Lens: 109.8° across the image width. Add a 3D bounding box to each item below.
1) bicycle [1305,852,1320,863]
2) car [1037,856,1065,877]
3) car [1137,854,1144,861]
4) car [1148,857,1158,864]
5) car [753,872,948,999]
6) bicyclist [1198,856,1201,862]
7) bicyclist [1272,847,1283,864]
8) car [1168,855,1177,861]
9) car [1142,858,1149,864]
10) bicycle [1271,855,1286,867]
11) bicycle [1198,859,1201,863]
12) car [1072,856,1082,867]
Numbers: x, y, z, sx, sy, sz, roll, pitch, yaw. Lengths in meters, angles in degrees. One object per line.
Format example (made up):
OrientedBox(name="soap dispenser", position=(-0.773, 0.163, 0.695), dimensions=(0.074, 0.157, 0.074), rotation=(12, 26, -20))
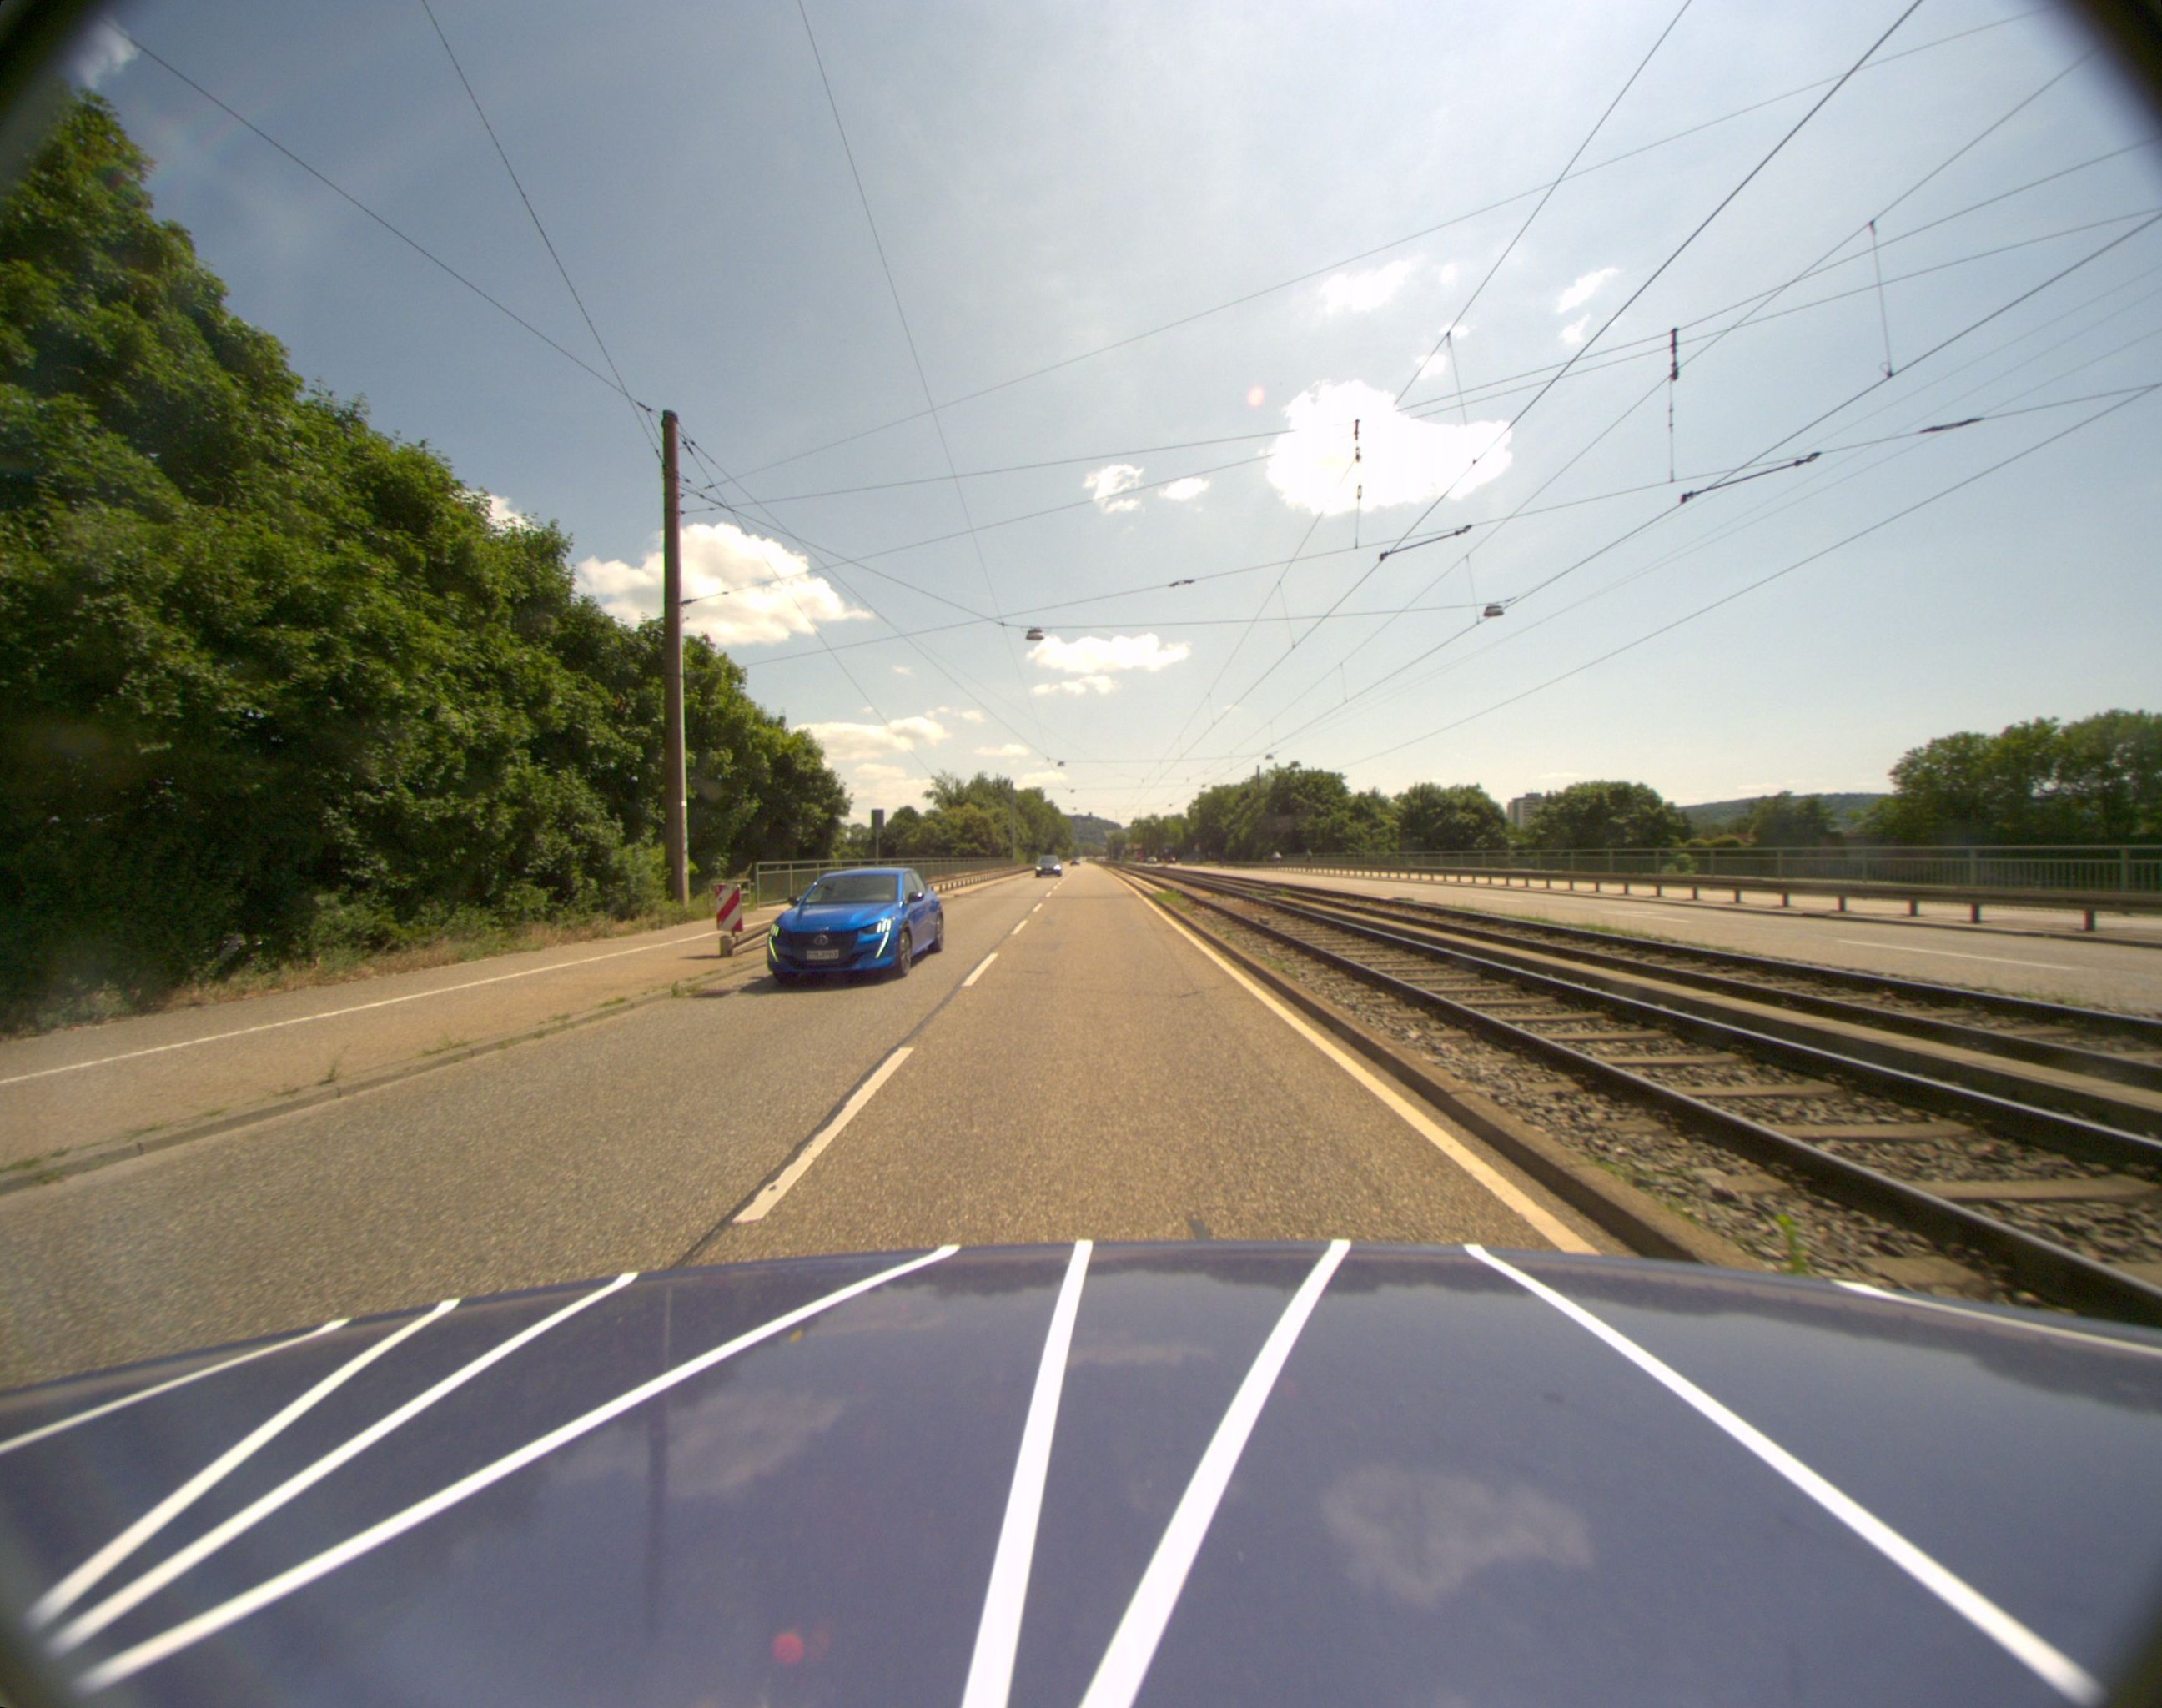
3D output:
OrientedBox(name="bicycle", position=(18.585, 0.284, 61.117), dimensions=(0.524, 0.838, 2.036), rotation=(-3, 0, -1))
OrientedBox(name="car", position=(-2.140, 0.869, 55.173), dimensions=(1.769, 1.359, 3.743), rotation=(-2, 0, 0))
OrientedBox(name="car", position=(17.865, 1.002, 229.169), dimensions=(1.816, 1.914, 5.179), rotation=(0, 0, 1))
OrientedBox(name="car", position=(14.916, 1.351, 156.755), dimensions=(1.715, 1.412, 4.624), rotation=(0, 0, 1))
OrientedBox(name="car", position=(-3.136, 1.036, 11.135), dimensions=(1.660, 1.397, 3.743), rotation=(-2, 0, 0))
OrientedBox(name="bicyclist", position=(27.010, 1.092, 173.694), dimensions=(0.570, 1.360, 0.631), rotation=(-2, 1, 6))
OrientedBox(name="bicyclist", position=(18.933, 0.110, 73.236), dimensions=(0.765, 1.612, 0.838), rotation=(-2, 1, 0))
OrientedBox(name="car", position=(19.929, 0.839, 164.946), dimensions=(1.567, 1.339, 3.929), rotation=(0, 0, 1))
OrientedBox(name="car", position=(16.168, 1.689, 190.908), dimensions=(1.578, 1.392, 3.938), rotation=(0, 0, 0))
OrientedBox(name="bicycle", position=(18.988, 0.674, 73.142), dimensions=(0.859, 1.178, 2.062), rotation=(-2, 0, 0))
OrientedBox(name="bicycle", position=(27.037, 1.579, 173.759), dimensions=(0.587, 0.814, 2.069), rotation=(-3, 1, 6))
OrientedBox(name="car", position=(-0.769, 1.525, 151.216), dimensions=(1.999, 2.002, 4.000), rotation=(-2, 0, 0))
